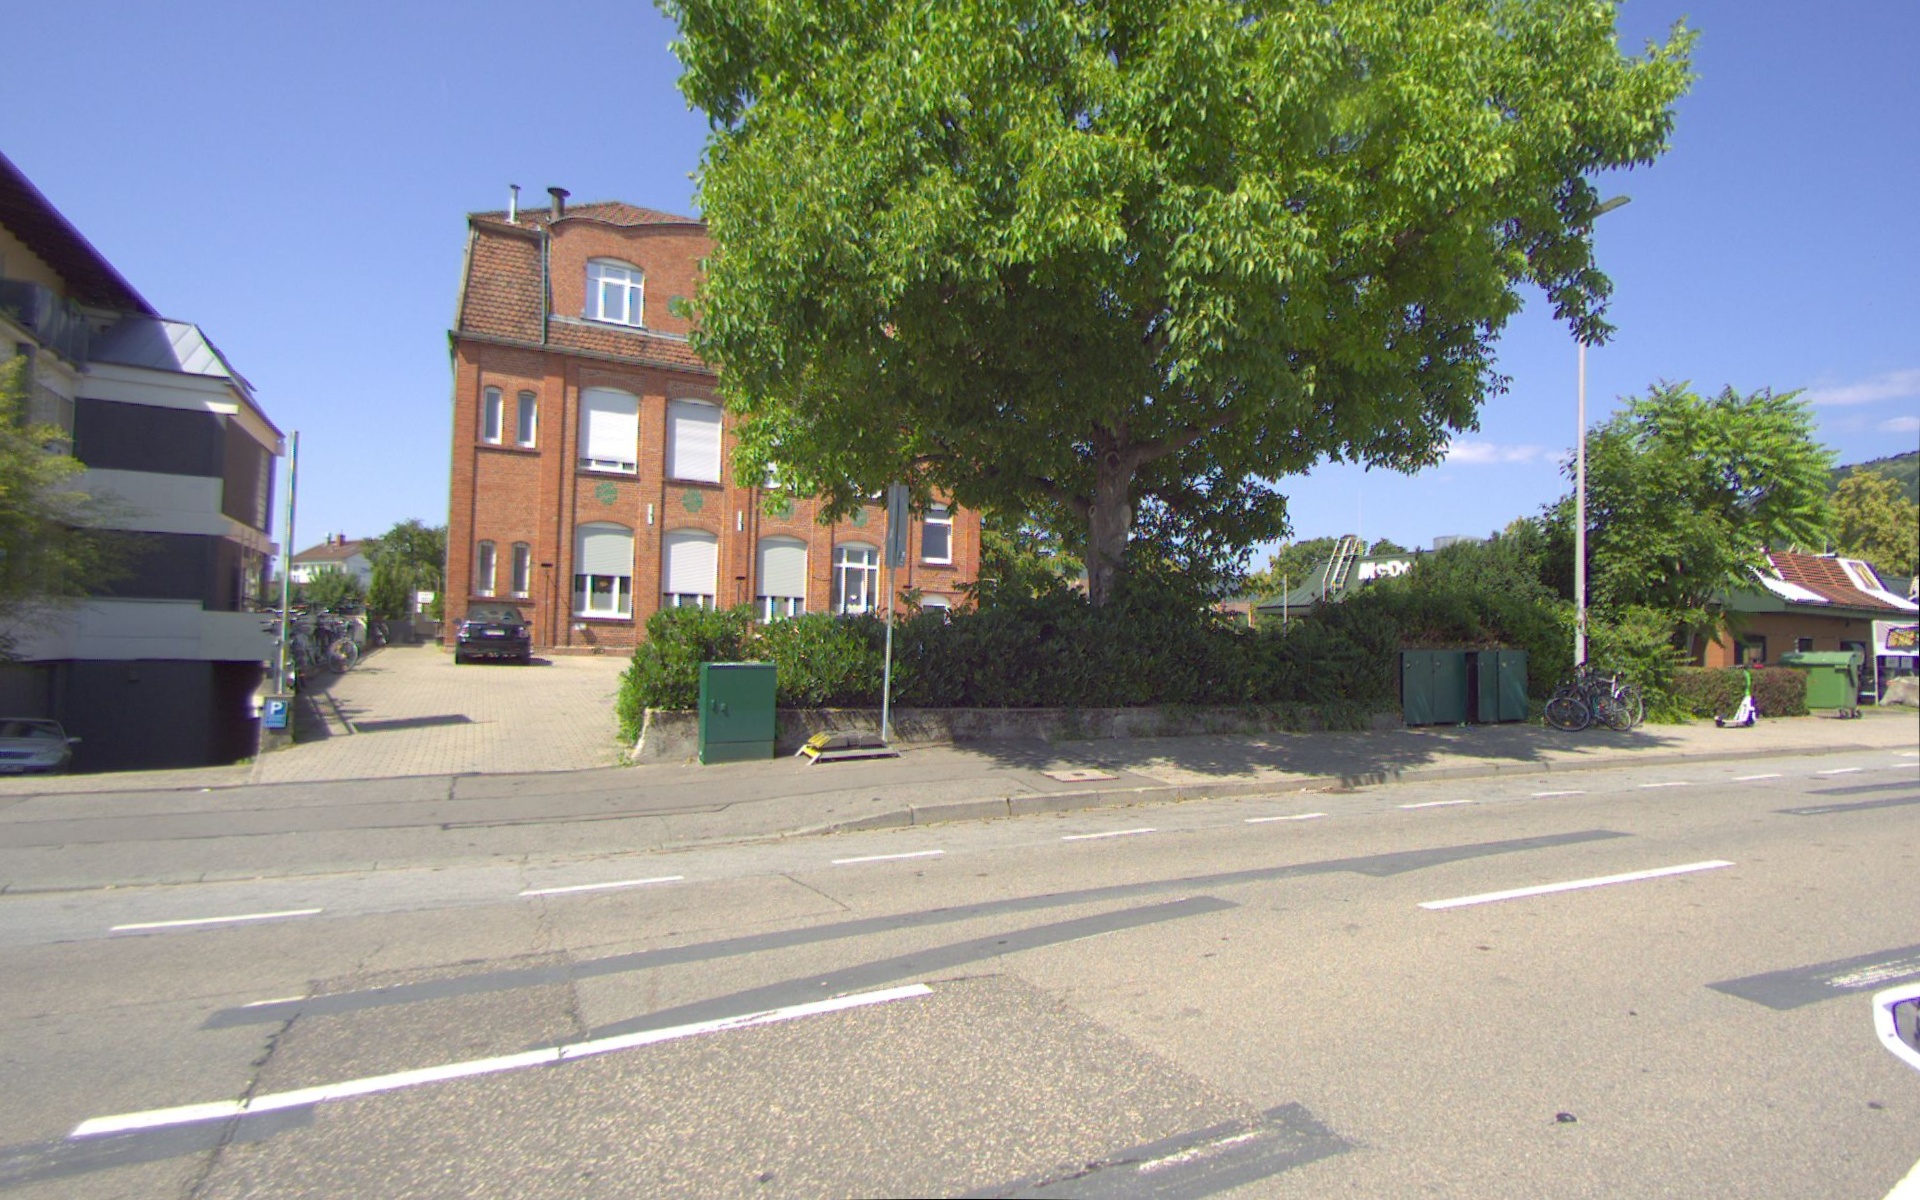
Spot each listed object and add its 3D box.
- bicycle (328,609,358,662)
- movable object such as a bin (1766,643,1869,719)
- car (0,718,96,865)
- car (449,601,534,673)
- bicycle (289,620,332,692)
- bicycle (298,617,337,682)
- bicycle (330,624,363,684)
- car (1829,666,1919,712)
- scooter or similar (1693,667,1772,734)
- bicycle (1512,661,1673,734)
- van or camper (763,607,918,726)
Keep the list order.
[{"bbox_3d":[-14.263,0.803,23.228,0.508,1.115,1.624,1,1,-30],"label":"bicycle"},{"bbox_3d":[19.093,1.775,22.384,1.294,1.611,1.439,2,-3,-34],"label":"movable object such as a bin"},{"bbox_3d":[-17.939,3.541,19.058,1.981,2.040,3.959,1,1,-36],"label":"car"},{"bbox_3d":[-11.965,0.902,25.532,1.606,1.557,3.968,4,0,-30],"label":"car"},{"bbox_3d":[-11.151,0.934,17.266,0.508,1.115,1.624,1,1,-30],"label":"bicycle"},{"bbox_3d":[-12.040,0.911,18.856,0.508,1.115,1.624,1,1,-30],"label":"bicycle"},{"bbox_3d":[-12.585,1.089,20.621,0.508,1.115,1.624,1,1,-30],"label":"bicycle"},{"bbox_3d":[33.814,3.184,36.379,4.072,1.435,1.988,2,0,-24],"label":"car"},{"bbox_3d":[14.545,1.871,18.894,1.605,1.143,0.643,1,1,-33],"label":"scooter or similar"},{"bbox_3d":[11.042,1.668,17.527,2.728,1.133,1.024,2,0,-24],"label":"bicycle"},{"bbox_3d":[-2.062,0.998,16.531,1.610,1.687,3.383,1,0,-23],"label":"van or camper"}]
